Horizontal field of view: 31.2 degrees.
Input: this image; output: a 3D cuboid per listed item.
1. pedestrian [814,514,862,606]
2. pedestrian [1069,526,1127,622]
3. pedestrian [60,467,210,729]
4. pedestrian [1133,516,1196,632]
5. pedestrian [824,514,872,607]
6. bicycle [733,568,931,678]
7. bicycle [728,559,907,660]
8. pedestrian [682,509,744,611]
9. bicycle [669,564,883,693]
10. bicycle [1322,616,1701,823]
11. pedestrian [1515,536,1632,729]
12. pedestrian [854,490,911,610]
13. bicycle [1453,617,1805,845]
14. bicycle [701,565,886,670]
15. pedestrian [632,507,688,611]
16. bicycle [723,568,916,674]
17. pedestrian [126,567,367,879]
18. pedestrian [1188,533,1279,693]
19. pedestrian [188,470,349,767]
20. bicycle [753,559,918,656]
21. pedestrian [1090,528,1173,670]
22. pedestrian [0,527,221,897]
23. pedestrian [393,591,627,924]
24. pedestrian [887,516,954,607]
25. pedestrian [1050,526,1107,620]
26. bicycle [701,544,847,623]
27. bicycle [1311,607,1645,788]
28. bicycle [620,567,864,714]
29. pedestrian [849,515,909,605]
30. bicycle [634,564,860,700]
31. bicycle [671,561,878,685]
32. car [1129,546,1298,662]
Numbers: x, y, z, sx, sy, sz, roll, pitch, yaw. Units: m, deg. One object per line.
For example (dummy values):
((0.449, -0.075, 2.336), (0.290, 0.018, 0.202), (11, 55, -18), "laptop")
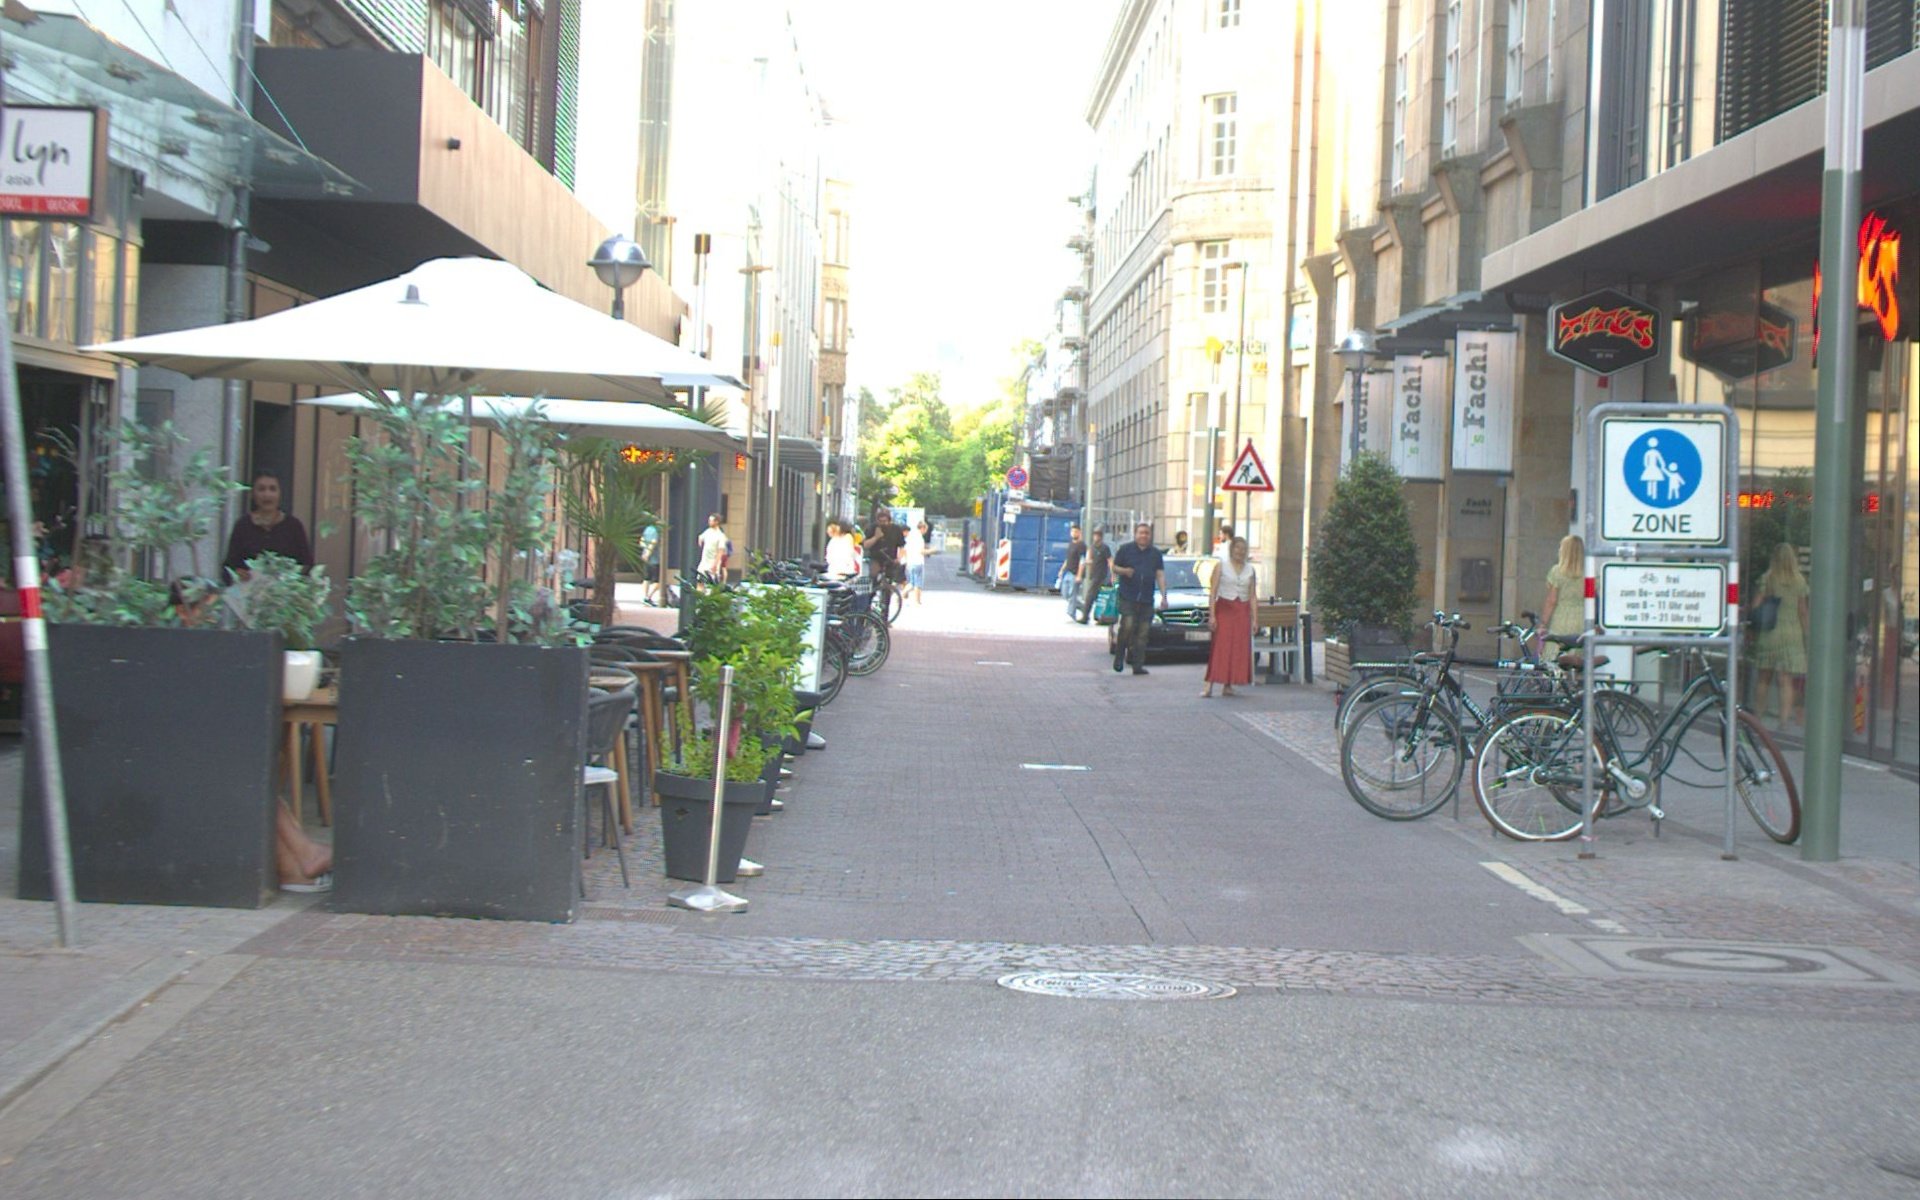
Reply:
((-2.514, -0.822, 70.908), (0.904, 1.853, 0.836), (2, 1, 0), "pedestrian")
((2.451, -0.467, 60.999), (0.904, 1.655, 0.793), (2, 1, -3), "pedestrian")
((-5.377, -0.018, 22.381), (0.856, 1.653, 0.800), (2, 1, -17), "pedestrian")
((3.330, -0.429, 56.039), (0.904, 1.853, 0.836), (2, 1, -2), "pedestrian")
((-2.274, -0.802, 70.042), (0.904, 1.853, 0.836), (2, 1, 0), "pedestrian")
((-1.373, 0.243, 36.975), (2.047, 1.013, 0.467), (4, 1, -1), "bicycle")
((-1.689, 0.111, 40.945), (2.047, 1.046, 0.467), (4, 1, -1), "bicycle")
((-4.554, -0.742, 63.455), (1.025, 1.853, 0.906), (2, 1, 0), "pedestrian")
((-1.747, 0.267, 32.750), (1.947, 1.071, 0.467), (4, 1, -1), "bicycle")
((3.031, 0.651, 18.980), (2.009, 1.117, 0.467), (0, 1, -1), "bicycle")
((5.118, 0.258, 28.718), (0.797, 1.560, 0.859), (2, 1, 2), "pedestrian")
((-1.223, -0.795, 54.169), (0.833, 1.853, 0.907), (2, 1, -2), "pedestrian")
((3.395, 0.660, 17.514), (1.697, 1.132, 0.467), (0, 1, -1), "bicycle")
((-1.912, 0.195, 39.645), (2.047, 1.046, 0.467), (4, 1, -1), "bicycle")
((-5.493, -0.755, 62.939), (0.904, 1.853, 0.836), (2, 1, 0), "pedestrian")
((-1.552, 0.234, 38.095), (2.047, 1.013, 0.467), (4, 1, -1), "bicycle")
((-2.875, 0.484, 13.915), (0.790, 1.179, 0.674), (4, 1, -2), "pedestrian")
((2.744, 0.123, 34.574), (0.797, 1.560, 0.859), (2, 1, 0), "pedestrian")
((-3.949, 0.097, 19.682), (0.790, 1.643, 0.725), (2, 1, -6), "pedestrian")
((-1.597, 0.098, 44.284), (2.047, 1.091, 0.467), (4, 1, -1), "bicycle")
((2.044, -0.021, 40.975), (0.899, 1.655, 0.930), (2, 1, 1), "pedestrian")
((-3.312, 0.410, 13.094), (0.790, 1.326, 0.674), (4, 1, -2), "pedestrian")
((-1.698, 0.585, 13.058), (0.790, 1.179, 0.674), (3, 1, -6), "pedestrian")
((-0.771, -0.756, 67.319), (1.010, 1.728, 0.980), (2, 1, 18), "pedestrian")
((2.125, -0.486, 61.683), (0.904, 1.655, 0.793), (2, 1, -3), "pedestrian")
((-2.727, -0.245, 50.495), (2.047, 1.009, 0.467), (4, 1, -1), "bicycle")
((3.260, 0.608, 21.709), (2.034, 1.117, 0.467), (0, 1, -1), "bicycle")
((-1.821, 0.337, 28.812), (1.947, 1.071, 0.467), (4, 1, -1), "bicycle")
((-1.588, -0.779, 67.587), (0.862, 1.728, 0.933), (2, 1, 18), "pedestrian")
((-1.917, 0.286, 31.087), (1.947, 1.071, 0.467), (4, 1, -1), "bicycle")
((-1.824, 0.222, 33.892), (1.947, 1.071, 0.467), (4, 1, -1), "bicycle")
((3.358, 0.022, 46.185), (1.754, 1.436, 3.929), (1, 1, -3), "car")
